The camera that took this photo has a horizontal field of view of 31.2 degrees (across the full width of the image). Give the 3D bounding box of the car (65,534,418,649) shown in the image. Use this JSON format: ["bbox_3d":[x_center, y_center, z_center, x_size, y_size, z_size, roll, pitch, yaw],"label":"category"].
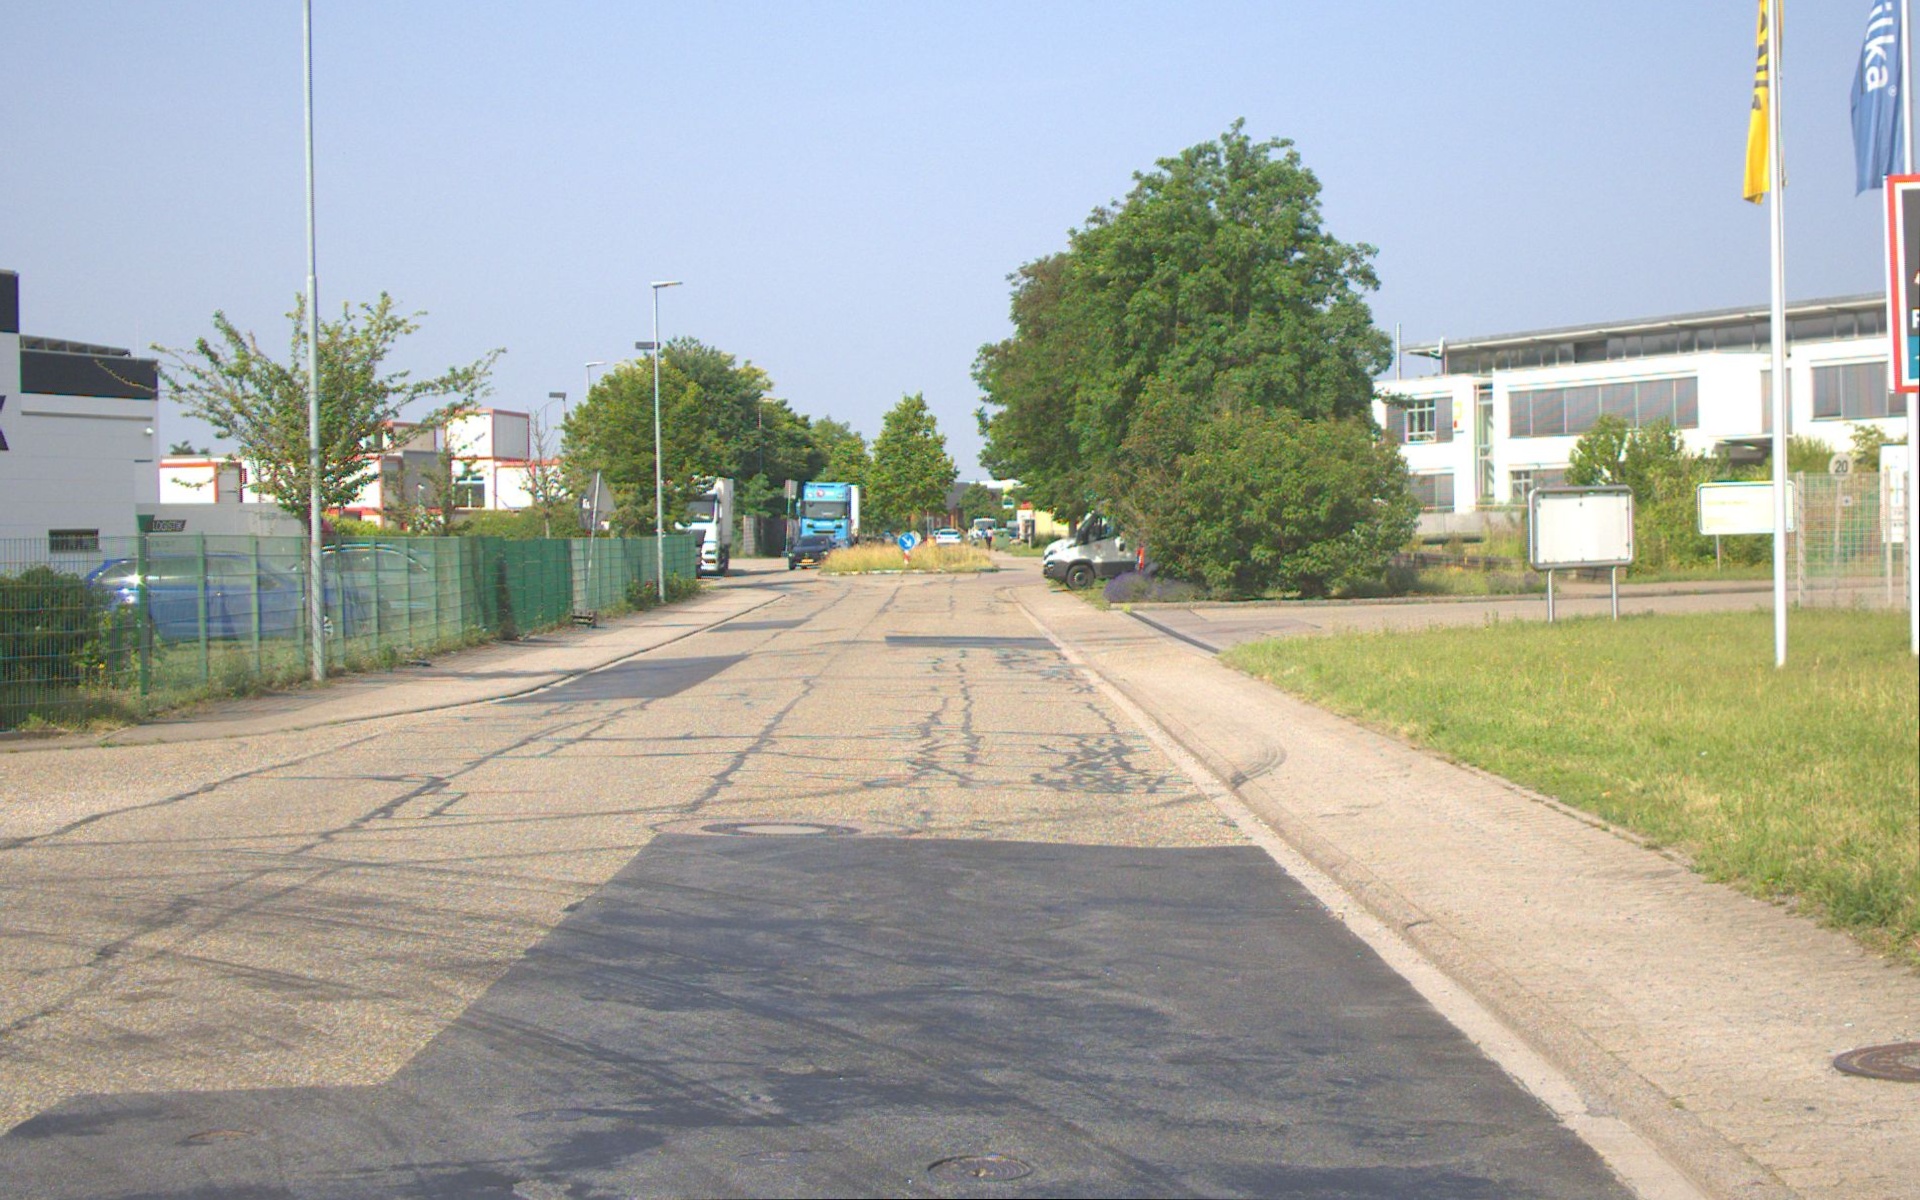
[{"bbox_3d":[-10.472,-0.141,50.358,4.685,1.439,2.078,-3,1,-1],"label":"car"}]

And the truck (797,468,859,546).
[{"bbox_3d":[-6.795,-4.755,178.025,2.825,3.812,9.673,1,0,0],"label":"truck"}]

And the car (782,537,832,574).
[{"bbox_3d":[-6.481,-1.897,145.744,1.993,1.444,4.420,-3,1,-2],"label":"car"}]

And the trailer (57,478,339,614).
[{"bbox_3d":[-24.029,-1.631,109.600,2.484,4.028,13.878,1,0,16],"label":"trailer"}]

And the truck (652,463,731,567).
[{"bbox_3d":[-10.415,-3.275,133.700,2.708,3.908,4.297,1,0,-1],"label":"truck"}]

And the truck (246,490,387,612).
[{"bbox_3d":[-21.906,-1.648,117.309,2.514,4.057,5.540,1,0,15],"label":"truck"}]

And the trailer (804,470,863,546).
[{"bbox_3d":[-6.849,-4.966,188.062,2.831,3.829,12.036,1,0,0],"label":"trailer"}]

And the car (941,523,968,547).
[{"bbox_3d":[-0.390,-4.559,241.964,1.718,1.655,3.824,1,0,-2],"label":"car"}]

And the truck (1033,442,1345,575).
[{"bbox_3d":[6.208,-2.473,94.006,8.208,3.358,2.741,-2,0,-1],"label":"truck"}]

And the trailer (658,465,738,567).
[{"bbox_3d":[-10.474,-3.307,138.098,2.699,3.908,7.575,1,0,-1],"label":"trailer"}]

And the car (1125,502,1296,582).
[{"bbox_3d":[6.049,-1.408,83.383,3.987,1.831,2.000,-1,1,1],"label":"car"}]
